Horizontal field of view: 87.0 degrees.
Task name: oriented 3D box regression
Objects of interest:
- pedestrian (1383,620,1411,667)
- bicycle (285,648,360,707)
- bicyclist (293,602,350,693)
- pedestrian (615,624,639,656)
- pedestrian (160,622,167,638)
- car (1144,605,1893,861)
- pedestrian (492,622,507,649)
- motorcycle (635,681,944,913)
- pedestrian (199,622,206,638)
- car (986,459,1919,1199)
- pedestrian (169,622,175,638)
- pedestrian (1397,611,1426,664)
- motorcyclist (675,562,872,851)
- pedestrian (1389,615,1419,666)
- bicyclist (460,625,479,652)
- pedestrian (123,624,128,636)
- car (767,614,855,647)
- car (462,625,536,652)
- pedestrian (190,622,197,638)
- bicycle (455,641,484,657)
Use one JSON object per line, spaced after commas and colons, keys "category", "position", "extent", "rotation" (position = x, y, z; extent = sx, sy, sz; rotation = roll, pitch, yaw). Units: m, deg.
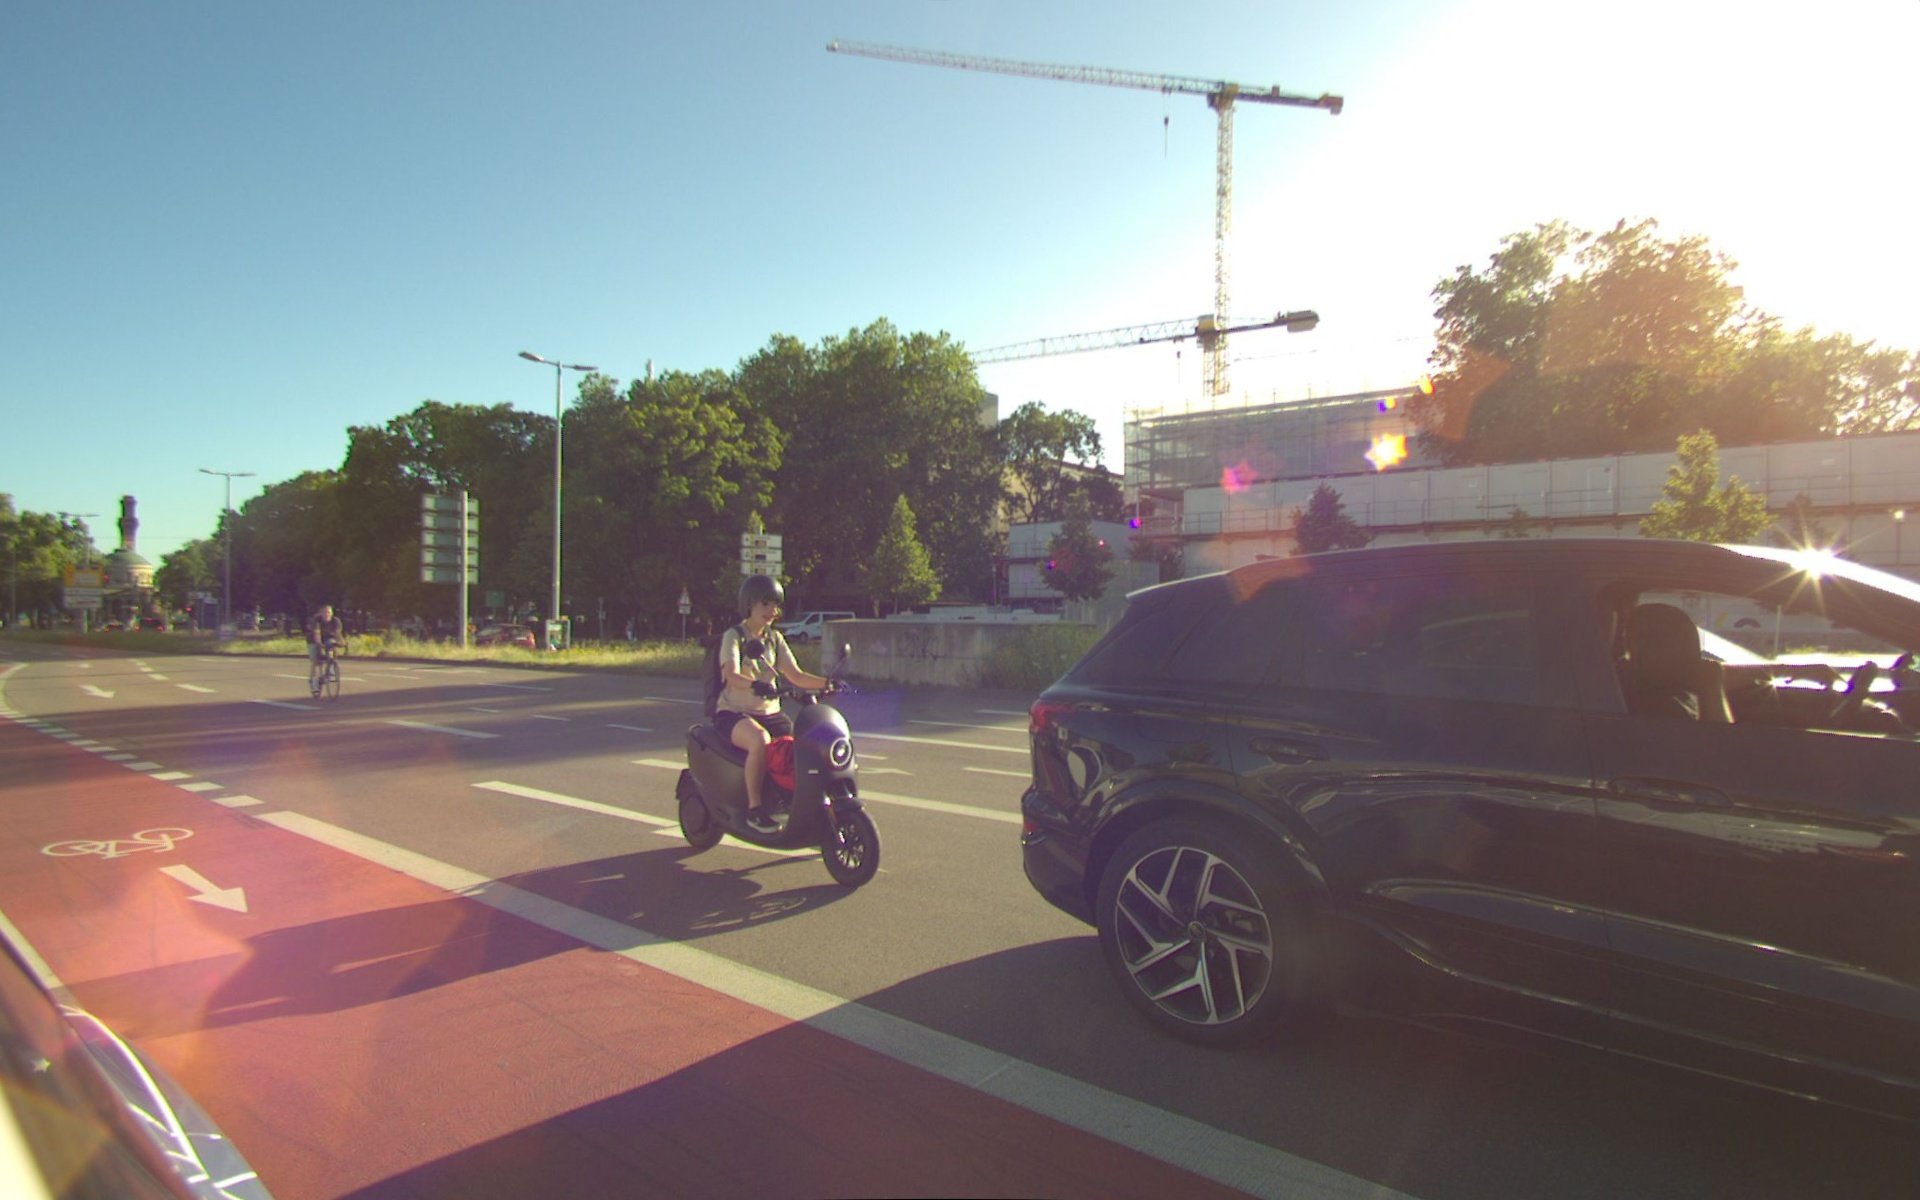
{"category": "pedestrian", "position": [13.676, 1.362, 31.691], "extent": [0.654, 1.464, 0.596], "rotation": [-1, -2, 41]}
{"category": "bicycle", "position": [-11.028, 1.306, 17.480], "extent": [1.910, 0.915, 0.616], "rotation": [-1, -1, 42]}
{"category": "bicyclist", "position": [-11.041, 0.807, 17.495], "extent": [0.937, 1.515, 0.616], "rotation": [-1, -1, 42]}
{"category": "pedestrian", "position": [-19.544, 2.349, 59.345], "extent": [0.964, 1.796, 0.984], "rotation": [-1, 0, 41]}
{"category": "pedestrian", "position": [-100.181, 3.800, 127.340], "extent": [0.594, 1.981, 0.519], "rotation": [-1, -2, 38]}
{"category": "car", "position": [3.808, 0.744, 7.555], "extent": [4.522, 1.362, 1.753], "rotation": [-1, -1, 40]}
{"category": "pedestrian", "position": [-30.584, 2.361, 67.170], "extent": [0.697, 1.740, 0.656], "rotation": [-1, -2, 41]}
{"category": "motorcycle", "position": [-1.037, 1.011, 5.760], "extent": [0.746, 0.976, 1.961], "rotation": [0, -1, -45]}
{"category": "pedestrian", "position": [-94.945, 3.732, 126.883], "extent": [0.594, 2.029, 0.519], "rotation": [-1, -2, 38]}
{"category": "car", "position": [2.627, 0.553, 3.105], "extent": [4.786, 1.675, 2.172], "rotation": [-1, -2, 39]}
{"category": "pedestrian", "position": [-99.678, 3.768, 128.030], "extent": [0.594, 2.029, 0.519], "rotation": [-1, -2, 38]}
{"category": "pedestrian", "position": [14.810, 1.229, 33.194], "extent": [0.654, 1.693, 0.829], "rotation": [-1, -2, 41]}
{"category": "motorcyclist", "position": [-1.077, 0.558, 5.820], "extent": [0.746, 1.495, 0.882], "rotation": [0, -1, -45]}
{"category": "pedestrian", "position": [14.197, 1.286, 32.389], "extent": [0.654, 1.601, 0.829], "rotation": [-1, -2, 41]}
{"category": "bicyclist", "position": [-25.422, 2.008, 52.478], "extent": [0.768, 1.377, 0.609], "rotation": [-1, -2, 41]}
{"category": "pedestrian", "position": [-111.177, 3.974, 134.793], "extent": [0.499, 1.570, 0.437], "rotation": [-1, -2, 41]}
{"category": "car", "position": [-9.052, 1.854, 61.756], "extent": [2.000, 1.906, 5.256], "rotation": [-2, -3, 42]}
{"category": "car", "position": [-20.970, 1.741, 45.998], "extent": [3.767, 1.141, 1.598], "rotation": [-1, -1, 40]}
{"category": "pedestrian", "position": [-95.579, 3.741, 126.180], "extent": [0.594, 2.029, 0.519], "rotation": [-1, -2, 38]}
{"category": "bicycle", "position": [-25.425, 2.542, 52.467], "extent": [1.979, 0.810, 0.609], "rotation": [-1, -2, 41]}
